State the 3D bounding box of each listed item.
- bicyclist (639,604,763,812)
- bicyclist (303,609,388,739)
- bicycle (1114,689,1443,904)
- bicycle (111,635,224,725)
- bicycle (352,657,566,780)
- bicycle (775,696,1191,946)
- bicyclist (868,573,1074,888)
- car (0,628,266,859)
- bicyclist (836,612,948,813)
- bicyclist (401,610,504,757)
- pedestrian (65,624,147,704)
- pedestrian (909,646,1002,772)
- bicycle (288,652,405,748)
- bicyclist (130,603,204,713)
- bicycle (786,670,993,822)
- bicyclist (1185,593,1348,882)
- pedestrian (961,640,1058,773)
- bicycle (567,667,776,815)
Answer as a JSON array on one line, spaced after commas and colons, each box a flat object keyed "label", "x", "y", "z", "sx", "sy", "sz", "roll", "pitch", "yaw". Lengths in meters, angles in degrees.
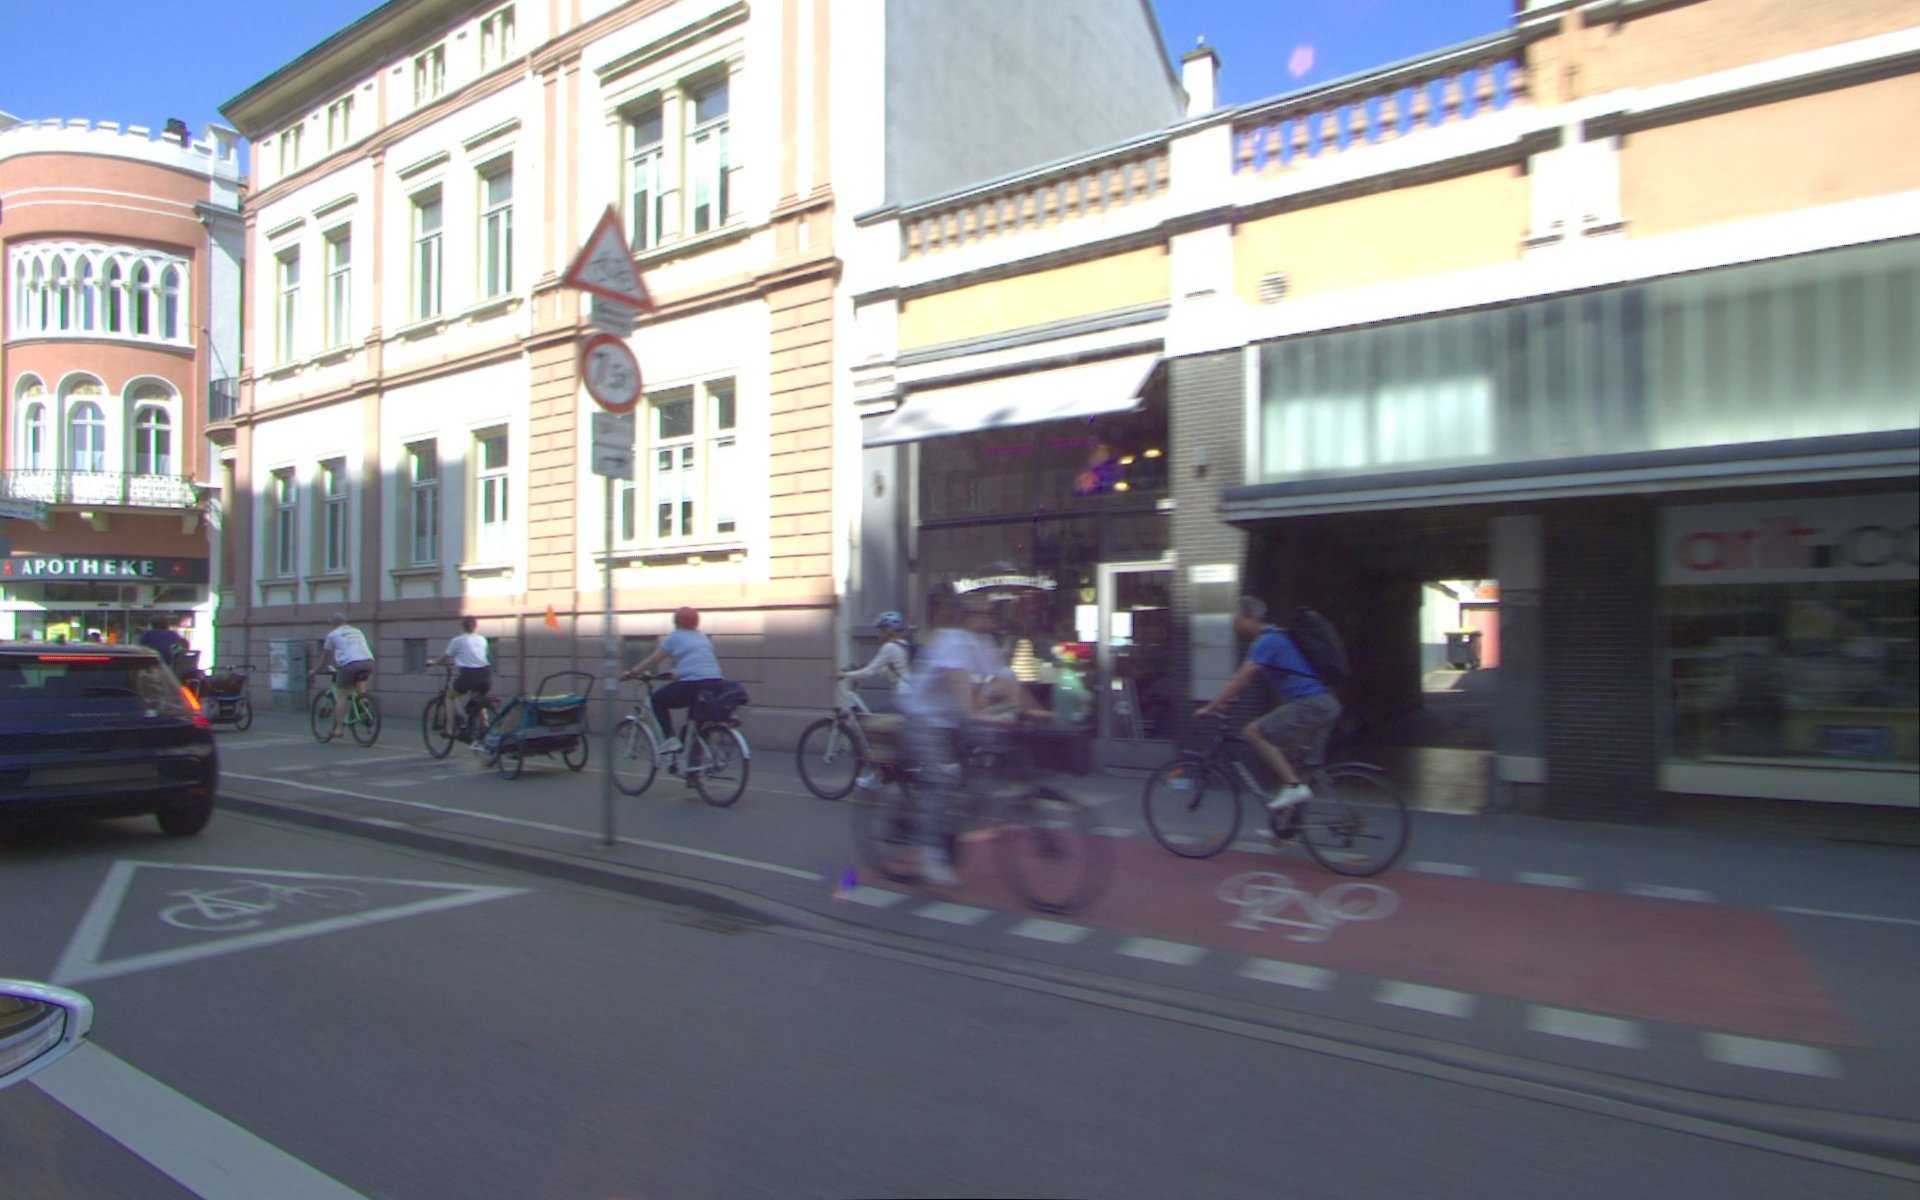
[{"label": "bicyclist", "x": -2.292, "y": 0.919, "z": 8.875, "sx": 0.833, "sy": 1.739, "sz": 0.681, "roll": -1, "pitch": -1, "yaw": 33}, {"label": "bicyclist", "x": -8.355, "y": 0.965, "z": 13.603, "sx": 1.142, "sy": 1.684, "sz": 0.570, "roll": 1, "pitch": 1, "yaw": 34}, {"label": "bicycle", "x": 2.050, "y": 1.202, "z": 6.588, "sx": 1.964, "sy": 1.132, "sz": 0.661, "roll": -1, "pitch": -1, "yaw": 34}, {"label": "bicycle", "x": -12.668, "y": 1.245, "z": 15.983, "sx": 2.250, "sy": 1.285, "sz": 0.730, "roll": 0, "pitch": -2, "yaw": 34}, {"label": "bicycle", "x": -5.855, "y": 1.295, "z": 11.577, "sx": 3.195, "sy": 1.142, "sz": 0.746, "roll": 0, "pitch": 0, "yaw": 34}, {"label": "bicycle", "x": 0.056, "y": 1.222, "z": 6.121, "sx": 2.538, "sy": 1.141, "sz": 0.739, "roll": -2, "pitch": -1, "yaw": 34}, {"label": "bicyclist", "x": 0.070, "y": 0.735, "z": 6.099, "sx": 1.021, "sy": 1.724, "sz": 0.744, "roll": -1, "pitch": -1, "yaw": 33}, {"label": "car", "x": -7.793, "y": 1.048, "z": 8.198, "sx": 4.229, "sy": 1.509, "sz": 1.885, "roll": -2, "pitch": -5, "yaw": 32}, {"label": "bicyclist", "x": -0.597, "y": 0.945, "z": 8.734, "sx": 0.833, "sy": 1.657, "sz": 0.514, "roll": -1, "pitch": -1, "yaw": 33}, {"label": "bicyclist", "x": -5.868, "y": 0.924, "z": 11.581, "sx": 0.832, "sy": 1.594, "sz": 0.744, "roll": 2, "pitch": 2, "yaw": 33}, {"label": "pedestrian", "x": -18.263, "y": 1.355, "z": 21.428, "sx": 0.958, "sy": 1.632, "sz": 0.902, "roll": -3, "pitch": -1, "yaw": 14}, {"label": "pedestrian", "x": -0.040, "y": 1.193, "z": 11.322, "sx": 0.616, "sy": 1.333, "sz": 1.028, "roll": 0, "pitch": -1, "yaw": 31}, {"label": "bicycle", "x": -8.358, "y": 1.324, "z": 13.608, "sx": 2.049, "sy": 1.142, "sz": 0.569, "roll": 0, "pitch": 0, "yaw": 34}, {"label": "bicyclist", "x": -12.639, "y": 0.906, "z": 15.970, "sx": 0.764, "sy": 1.695, "sz": 0.729, "roll": -1, "pitch": -1, "yaw": 33}, {"label": "bicycle", "x": -0.650, "y": 1.227, "z": 8.806, "sx": 1.834, "sy": 1.141, "sz": 0.604, "roll": -1, "pitch": 0, "yaw": 34}, {"label": "bicyclist", "x": 2.032, "y": 0.843, "z": 6.609, "sx": 0.832, "sy": 1.739, "sz": 0.837, "roll": -1, "pitch": -1, "yaw": 33}, {"label": "pedestrian", "x": 0.564, "y": 1.130, "z": 11.034, "sx": 0.616, "sy": 1.334, "sz": 1.083, "roll": 0, "pitch": 1, "yaw": 31}, {"label": "bicycle", "x": -2.681, "y": 1.232, "z": 9.204, "sx": 2.006, "sy": 1.141, "sz": 0.733, "roll": -1, "pitch": 0, "yaw": 34}]
